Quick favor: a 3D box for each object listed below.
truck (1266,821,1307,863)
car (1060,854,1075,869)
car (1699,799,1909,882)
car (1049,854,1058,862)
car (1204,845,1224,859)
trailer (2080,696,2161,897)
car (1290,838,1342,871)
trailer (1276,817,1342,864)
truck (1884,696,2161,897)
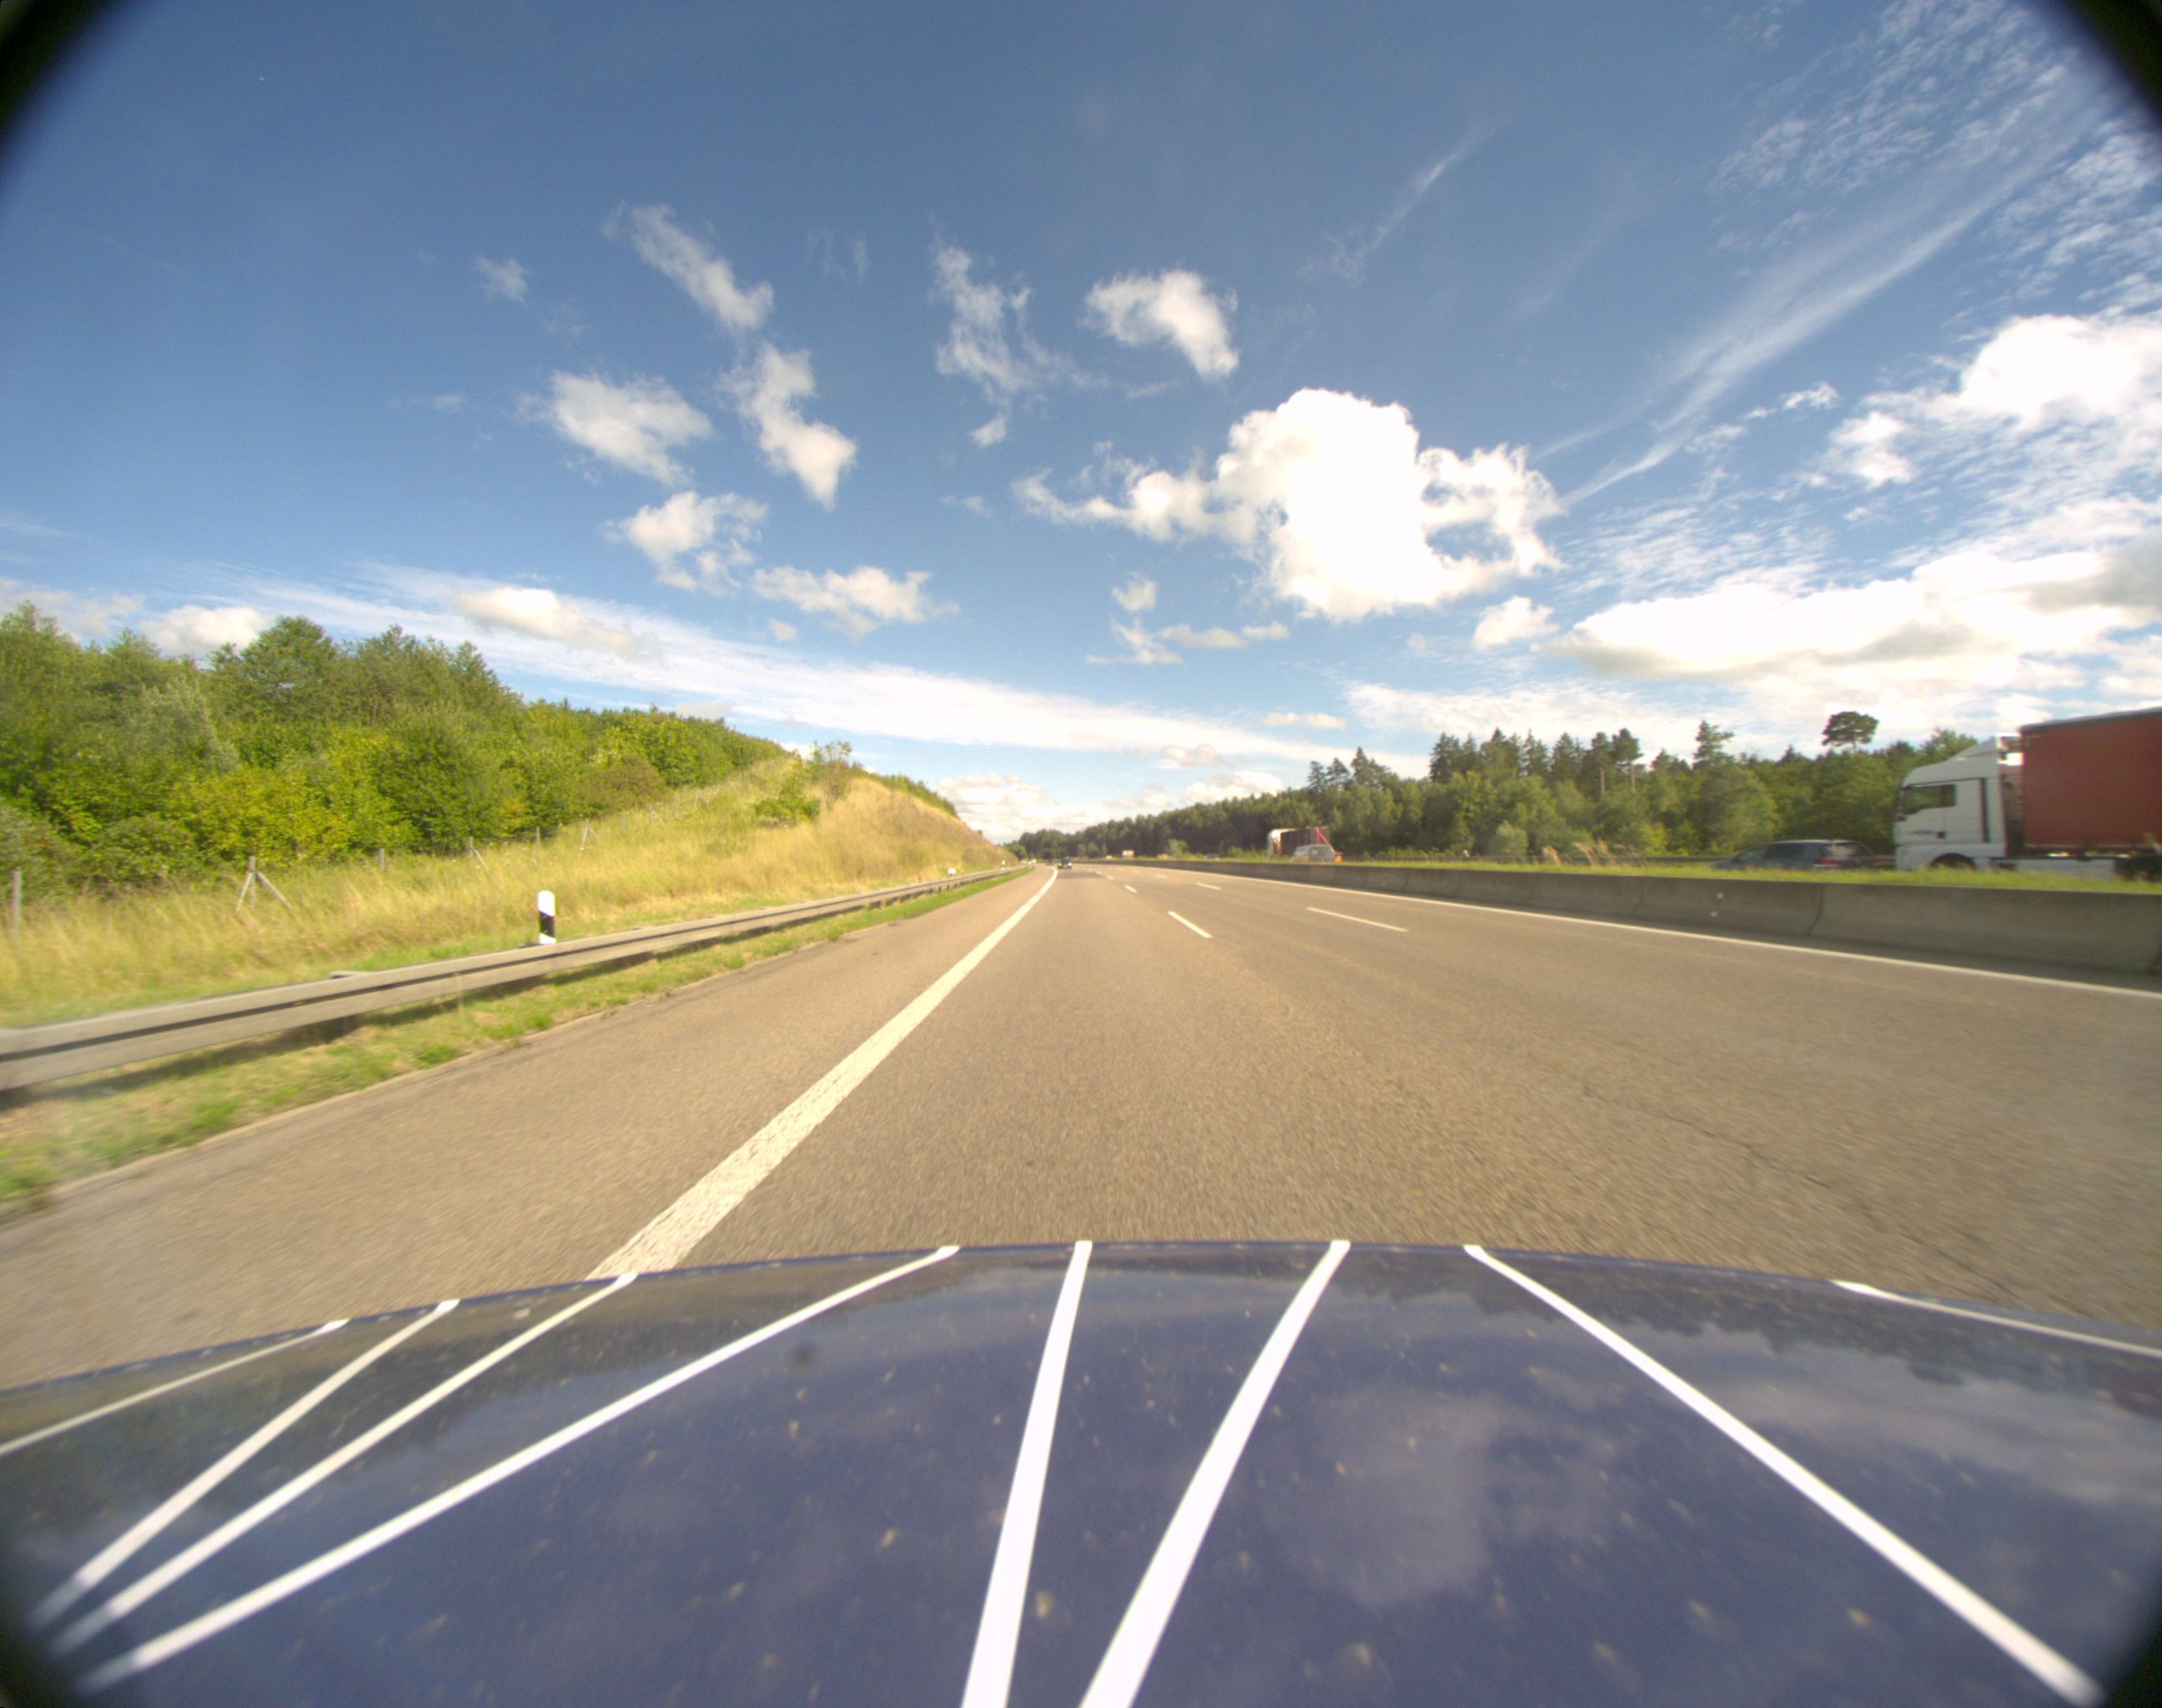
[{"bbox_3d":[22.746,-1.296,84.370,2.810,4.366,5.463,-2,0,-1],"label":"truck"},{"bbox_3d":[-1.877,1.008,103.544,1.999,1.827,3.999,-2,1,-1],"label":"car"},{"bbox_3d":[19.640,-0.353,20.928,1.998,2.002,4.000,-2,0,1],"label":"car"},{"bbox_3d":[-7.390,0.954,201.661,2.000,2.002,3.997,-3,1,-6],"label":"car"},{"bbox_3d":[18.087,-0.298,103.648,1.999,1.792,3.999,-2,0,-1],"label":"car"},{"bbox_3d":[23.384,-1.180,10.281,3.029,4.085,12.791,-2,0,1],"label":"trailer"},{"bbox_3d":[15.335,0.001,49.822,1.998,2.002,4.352,-2,0,0],"label":"car"},{"bbox_3d":[22.875,-1.294,77.228,2.810,4.366,12.048,-2,0,-1],"label":"trailer"},{"bbox_3d":[23.498,-1.219,17.974,3.031,4.085,5.668,-2,0,1],"label":"truck"}]
